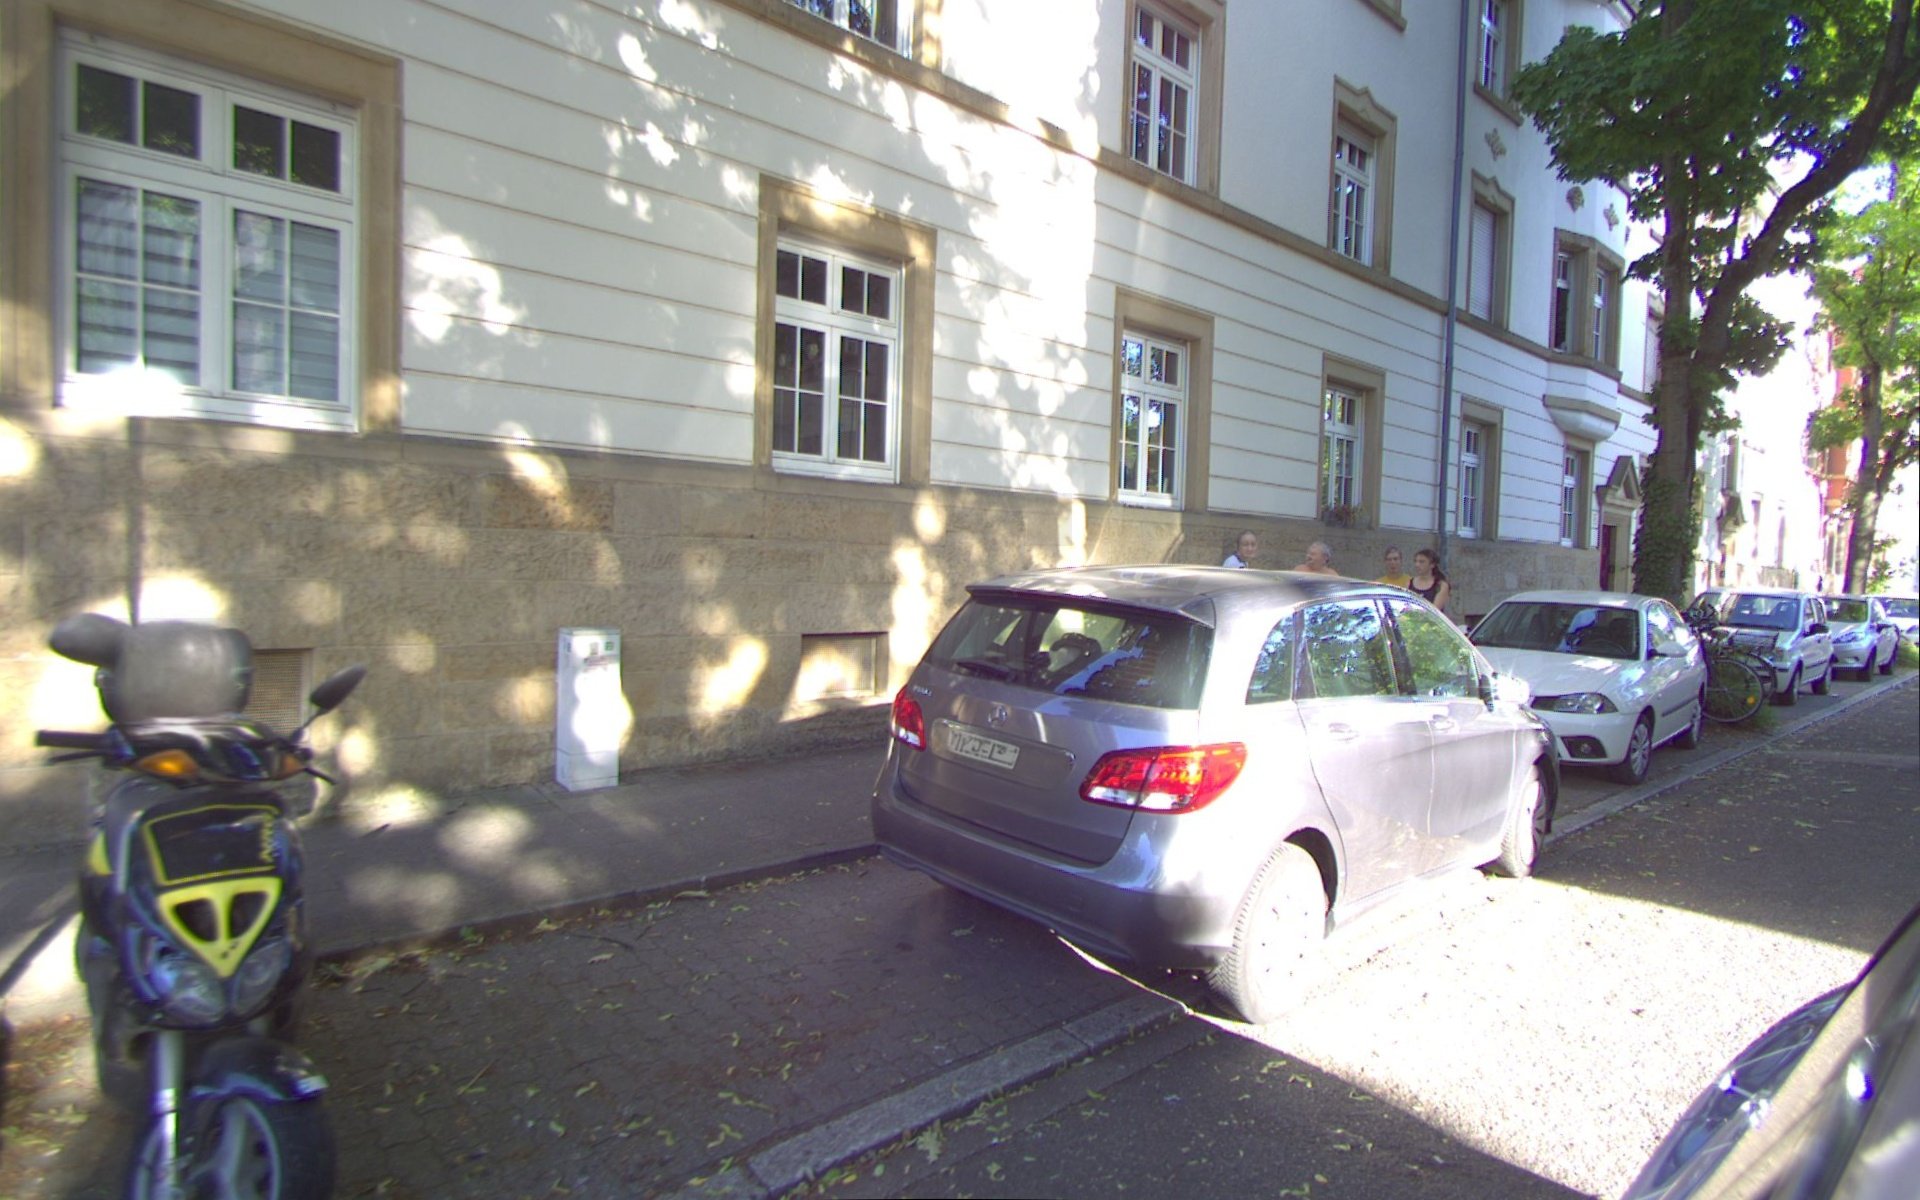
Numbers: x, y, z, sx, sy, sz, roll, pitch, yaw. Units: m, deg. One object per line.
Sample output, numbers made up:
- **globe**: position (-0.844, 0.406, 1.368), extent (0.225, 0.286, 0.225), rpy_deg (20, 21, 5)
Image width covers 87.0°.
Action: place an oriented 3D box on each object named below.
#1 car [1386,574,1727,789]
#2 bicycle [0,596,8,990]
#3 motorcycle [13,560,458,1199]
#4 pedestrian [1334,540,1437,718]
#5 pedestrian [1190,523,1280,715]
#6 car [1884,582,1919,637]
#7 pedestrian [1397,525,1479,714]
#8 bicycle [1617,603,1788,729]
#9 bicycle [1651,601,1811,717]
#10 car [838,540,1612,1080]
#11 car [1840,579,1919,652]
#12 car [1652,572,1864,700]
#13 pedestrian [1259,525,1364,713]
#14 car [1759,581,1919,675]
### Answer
- **car**: position (5.431, 0.531, 9.009), extent (1.724, 1.424, 3.795), rpy_deg (5, 4, 44)
- **bicycle**: position (-2.691, 0.642, 2.141), extent (0.424, 1.175, 1.803), rpy_deg (1, 4, -25)
- **motorcycle**: position (-1.982, 0.583, 2.626), extent (0.667, 1.227, 1.853), rpy_deg (2, 4, -43)
- **pedestrian**: position (4.283, 0.263, 10.187), extent (0.804, 1.705, 0.624), rpy_deg (0, 2, -42)
- **pedestrian**: position (2.786, 0.169, 10.258), extent (0.694, 1.867, 0.529), rpy_deg (0, 2, -40)
- **car**: position (26.890, 0.253, 27.741), extent (3.930, 1.437, 1.812), rpy_deg (-1, 3, -41)
- **pedestrian**: position (4.575, 0.167, 9.686), extent (0.519, 1.739, 0.508), rpy_deg (3, 2, 44)
- **bicycle**: position (7.995, 0.672, 10.946), extent (0.330, 1.210, 1.413), rpy_deg (0, 3, -42)
- **bicycle**: position (9.018, 0.657, 11.882), extent (0.330, 1.210, 1.413), rpy_deg (0, 3, -42)
- **car**: position (1.571, 0.577, 4.975), extent (4.063, 1.559, 1.684), rpy_deg (0, 4, -42)
- **car**: position (22.340, 0.329, 23.867), extent (3.930, 1.548, 1.823), rpy_deg (-1, 3, -41)
- **car**: position (11.518, 0.419, 14.528), extent (3.930, 1.551, 1.639), rpy_deg (-1, 3, -41)
- **pedestrian**: position (3.676, 0.168, 10.567), extent (0.705, 1.867, 0.827), rpy_deg (3, 3, 43)
- **car**: position (15.872, 0.426, 18.164), extent (3.930, 1.459, 1.650), rpy_deg (-1, 3, -41)
